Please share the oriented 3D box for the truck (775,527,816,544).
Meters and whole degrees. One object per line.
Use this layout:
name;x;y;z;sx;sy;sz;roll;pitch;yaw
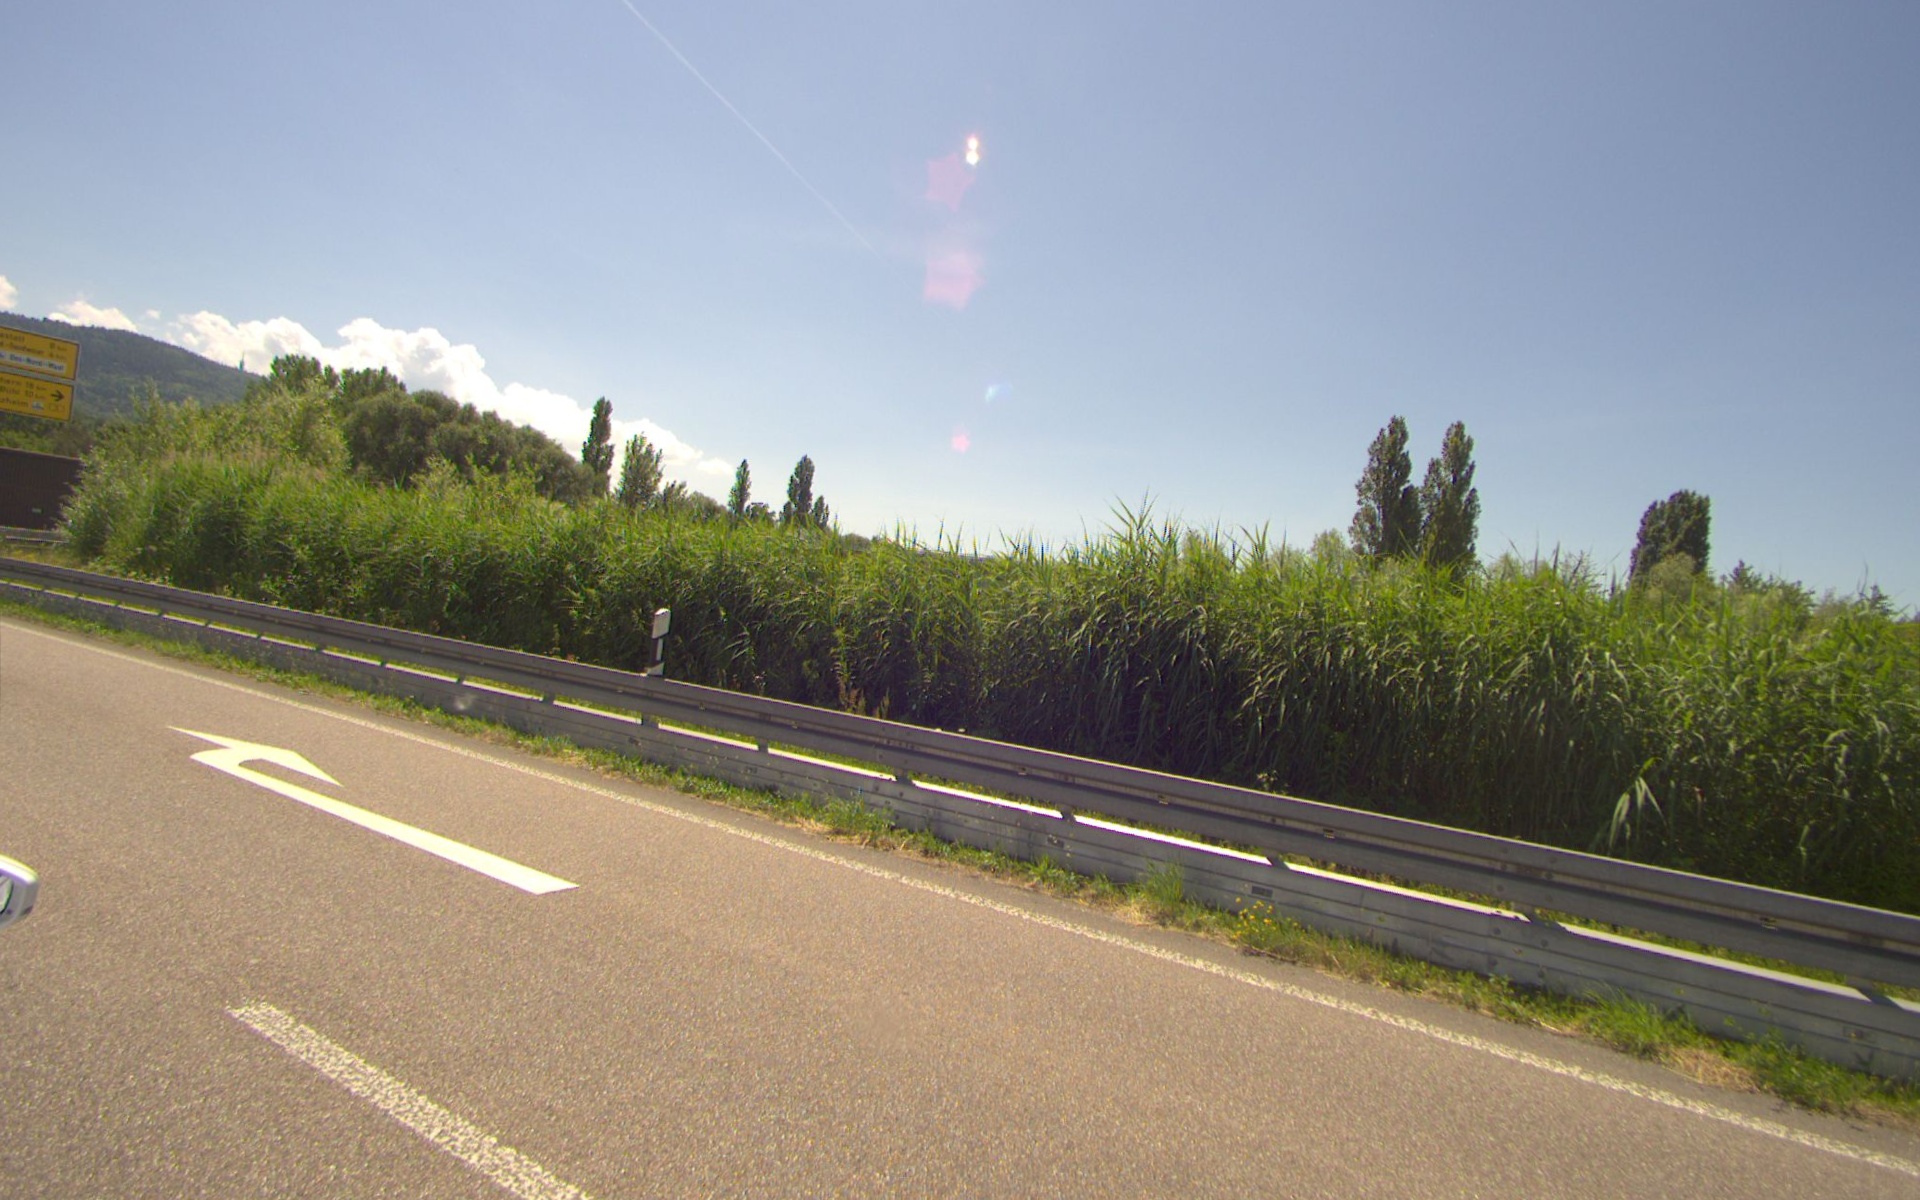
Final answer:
truck;-27.938;-10.945;170.505;6.553;2.255;2.623;6;-1;32
